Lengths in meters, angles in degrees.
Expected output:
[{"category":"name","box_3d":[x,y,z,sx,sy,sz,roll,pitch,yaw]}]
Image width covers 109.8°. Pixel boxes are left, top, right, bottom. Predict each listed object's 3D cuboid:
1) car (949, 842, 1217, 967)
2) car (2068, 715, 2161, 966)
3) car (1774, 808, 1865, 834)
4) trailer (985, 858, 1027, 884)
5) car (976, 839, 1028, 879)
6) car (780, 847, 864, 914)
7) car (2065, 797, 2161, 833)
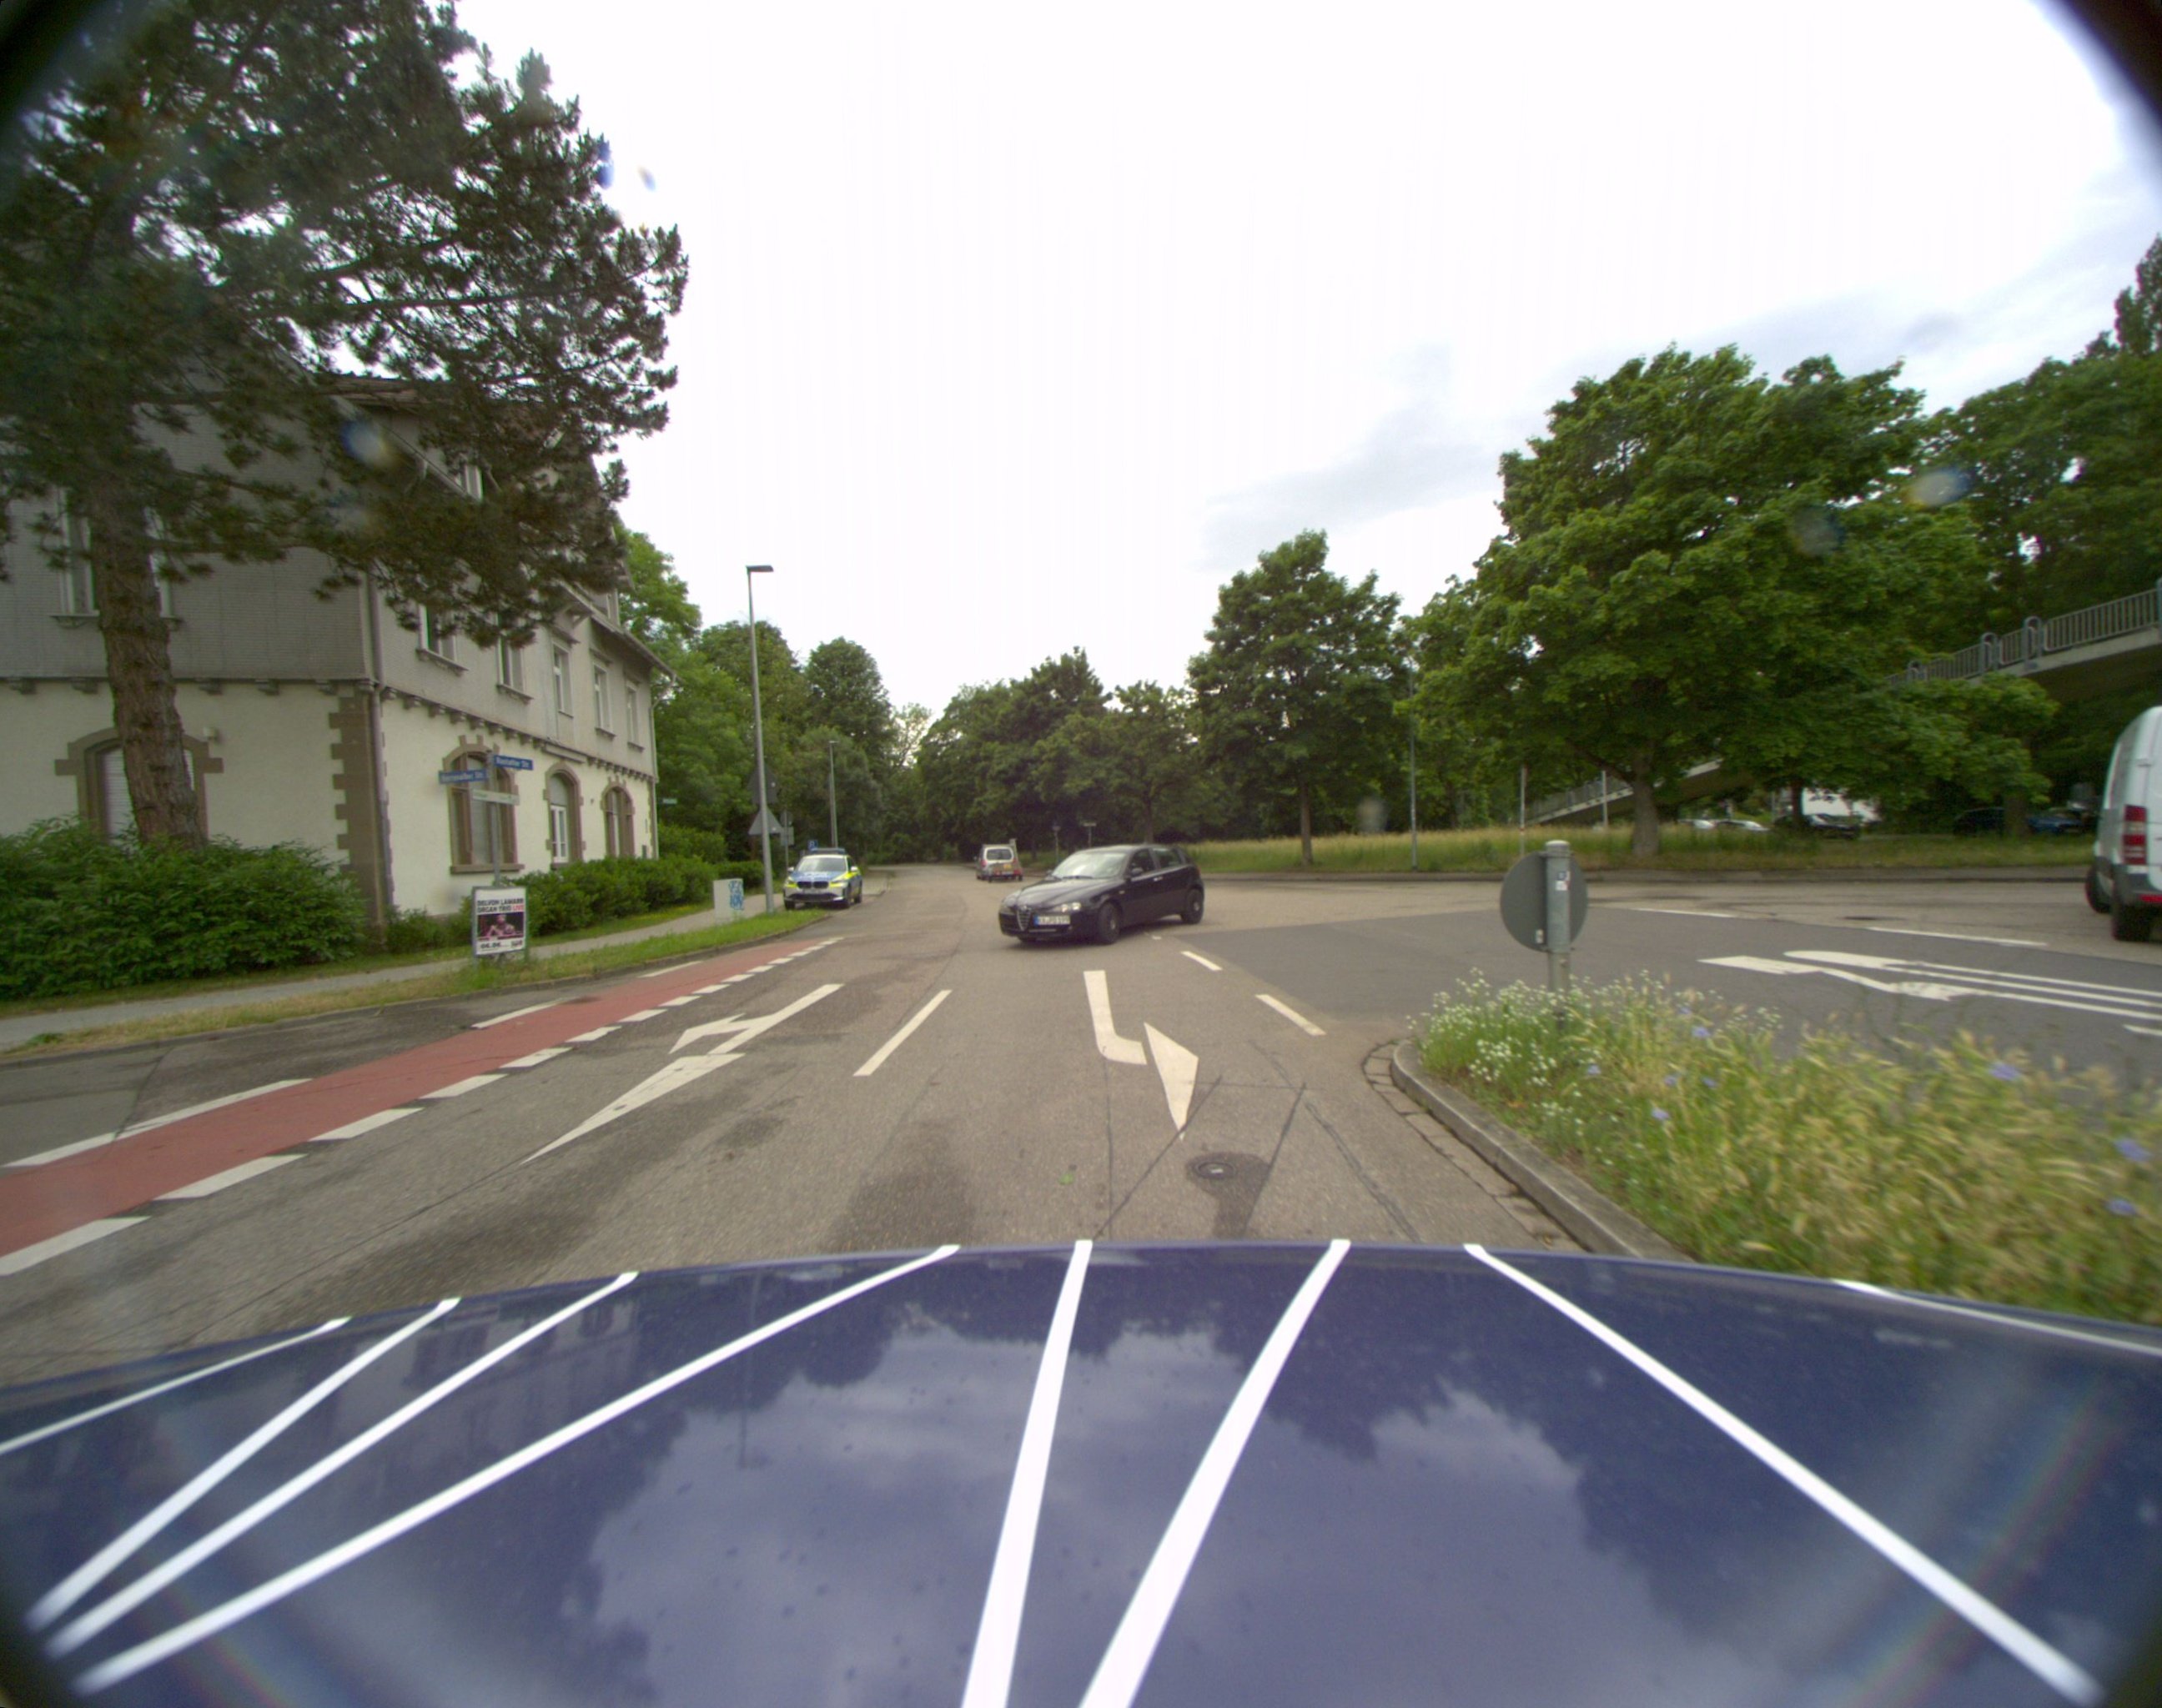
[{"category":"car","box_3d":[0.260,0.639,11.996,1.798,1.449,4.549,-2,1,37]},{"category":"car","box_3d":[12.386,-0.260,7.937,5.217,2.279,2.135,-4,2,-42]},{"category":"car","box_3d":[41.342,-1.824,42.684,1.692,1.343,4.002,-3,1,10]},{"category":"trailer","box_3d":[-3.594,0.786,36.156,1.572,0.980,3.460,-3,2,-12]},{"category":"car","box_3d":[-4.225,0.229,39.920,2.095,1.847,4.216,-4,2,-13]},{"category":"car","box_3d":[-7.847,0.720,23.369,1.937,1.839,3.995,-1,1,-12]},{"category":"car","box_3d":[39.321,-1.450,27.881,1.692,1.240,4.002,-3,1,10]}]
